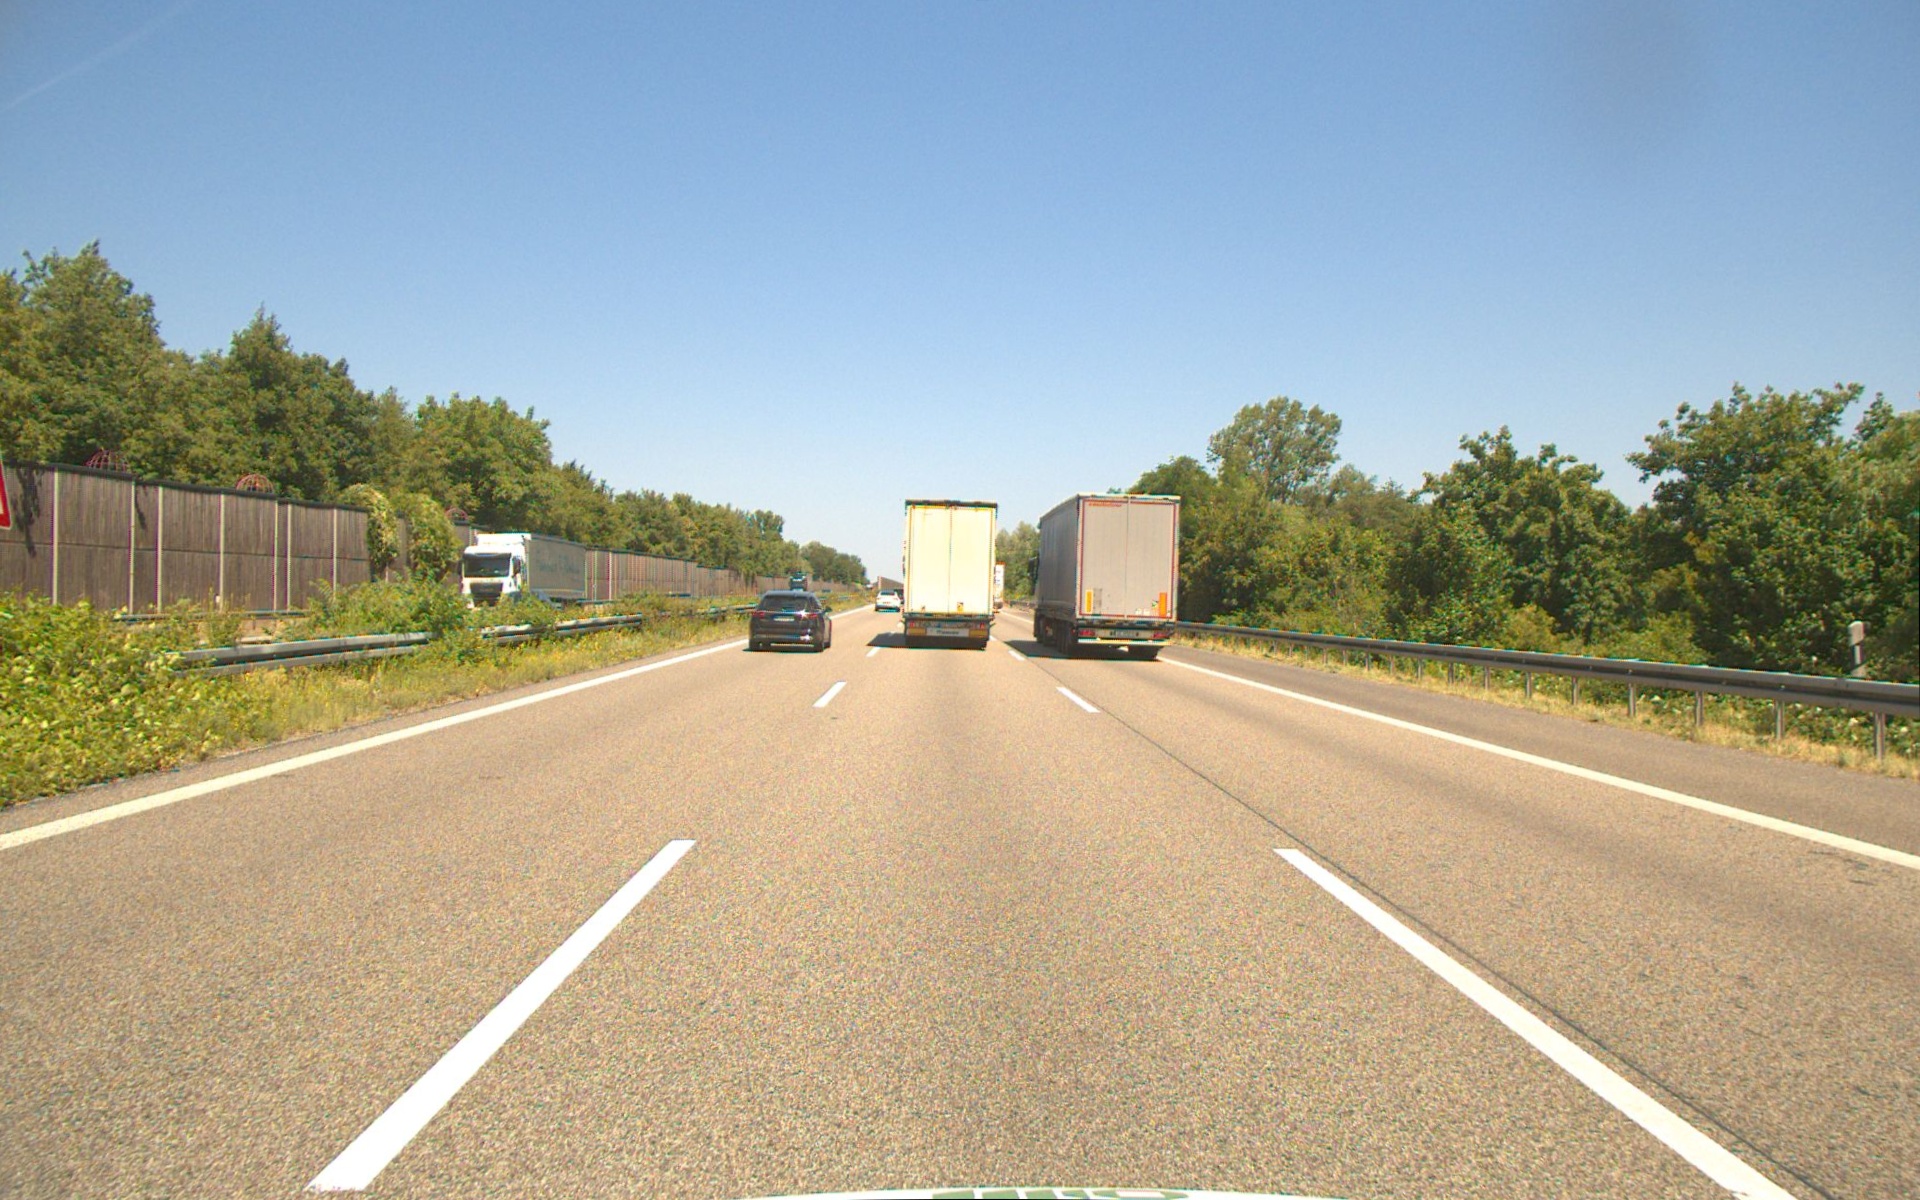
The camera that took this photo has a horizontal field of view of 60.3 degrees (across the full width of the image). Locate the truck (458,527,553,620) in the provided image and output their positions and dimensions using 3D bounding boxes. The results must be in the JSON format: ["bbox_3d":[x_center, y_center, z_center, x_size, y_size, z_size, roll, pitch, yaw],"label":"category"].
[{"bbox_3d":[-21.860,-1.220,79.915,2.776,4.256,7.140,0,0,-2],"label":"truck"}]

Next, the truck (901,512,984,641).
[{"bbox_3d":[-0.658,-0.781,57.215,2.672,4.157,7.274,0,0,-2],"label":"truck"}]

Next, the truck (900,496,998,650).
[{"bbox_3d":[-0.484,-0.754,51.673,2.652,4.157,13.469,0,0,-2],"label":"truck"}]

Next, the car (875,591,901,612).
[{"bbox_3d":[-5.195,0.091,119.491,1.818,1.512,3.999,-1,0,-2],"label":"car"}]

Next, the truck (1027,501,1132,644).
[{"bbox_3d":[3.759,-0.836,53.734,2.637,4.289,7.835,0,0,-2],"label":"truck"}]

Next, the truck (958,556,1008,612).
[{"bbox_3d":[1.853,-1.304,139.552,3.307,4.378,11.442,2,0,-3],"label":"truck"}]

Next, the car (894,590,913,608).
[{"bbox_3d":[-5.405,-0.106,157.763,1.818,1.645,3.998,-1,0,-2],"label":"car"}]

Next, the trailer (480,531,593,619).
[{"bbox_3d":[-22.016,-1.230,86.896,2.851,4.256,13.307,0,0,-2],"label":"trailer"}]

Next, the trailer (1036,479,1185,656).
[{"bbox_3d":[3.952,-0.812,46.745,2.649,4.289,13.207,0,0,-2],"label":"trailer"}]

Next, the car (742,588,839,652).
[{"bbox_3d":[-4.272,0.458,42.639,1.903,1.533,5.821,0,0,0],"label":"car"}]
